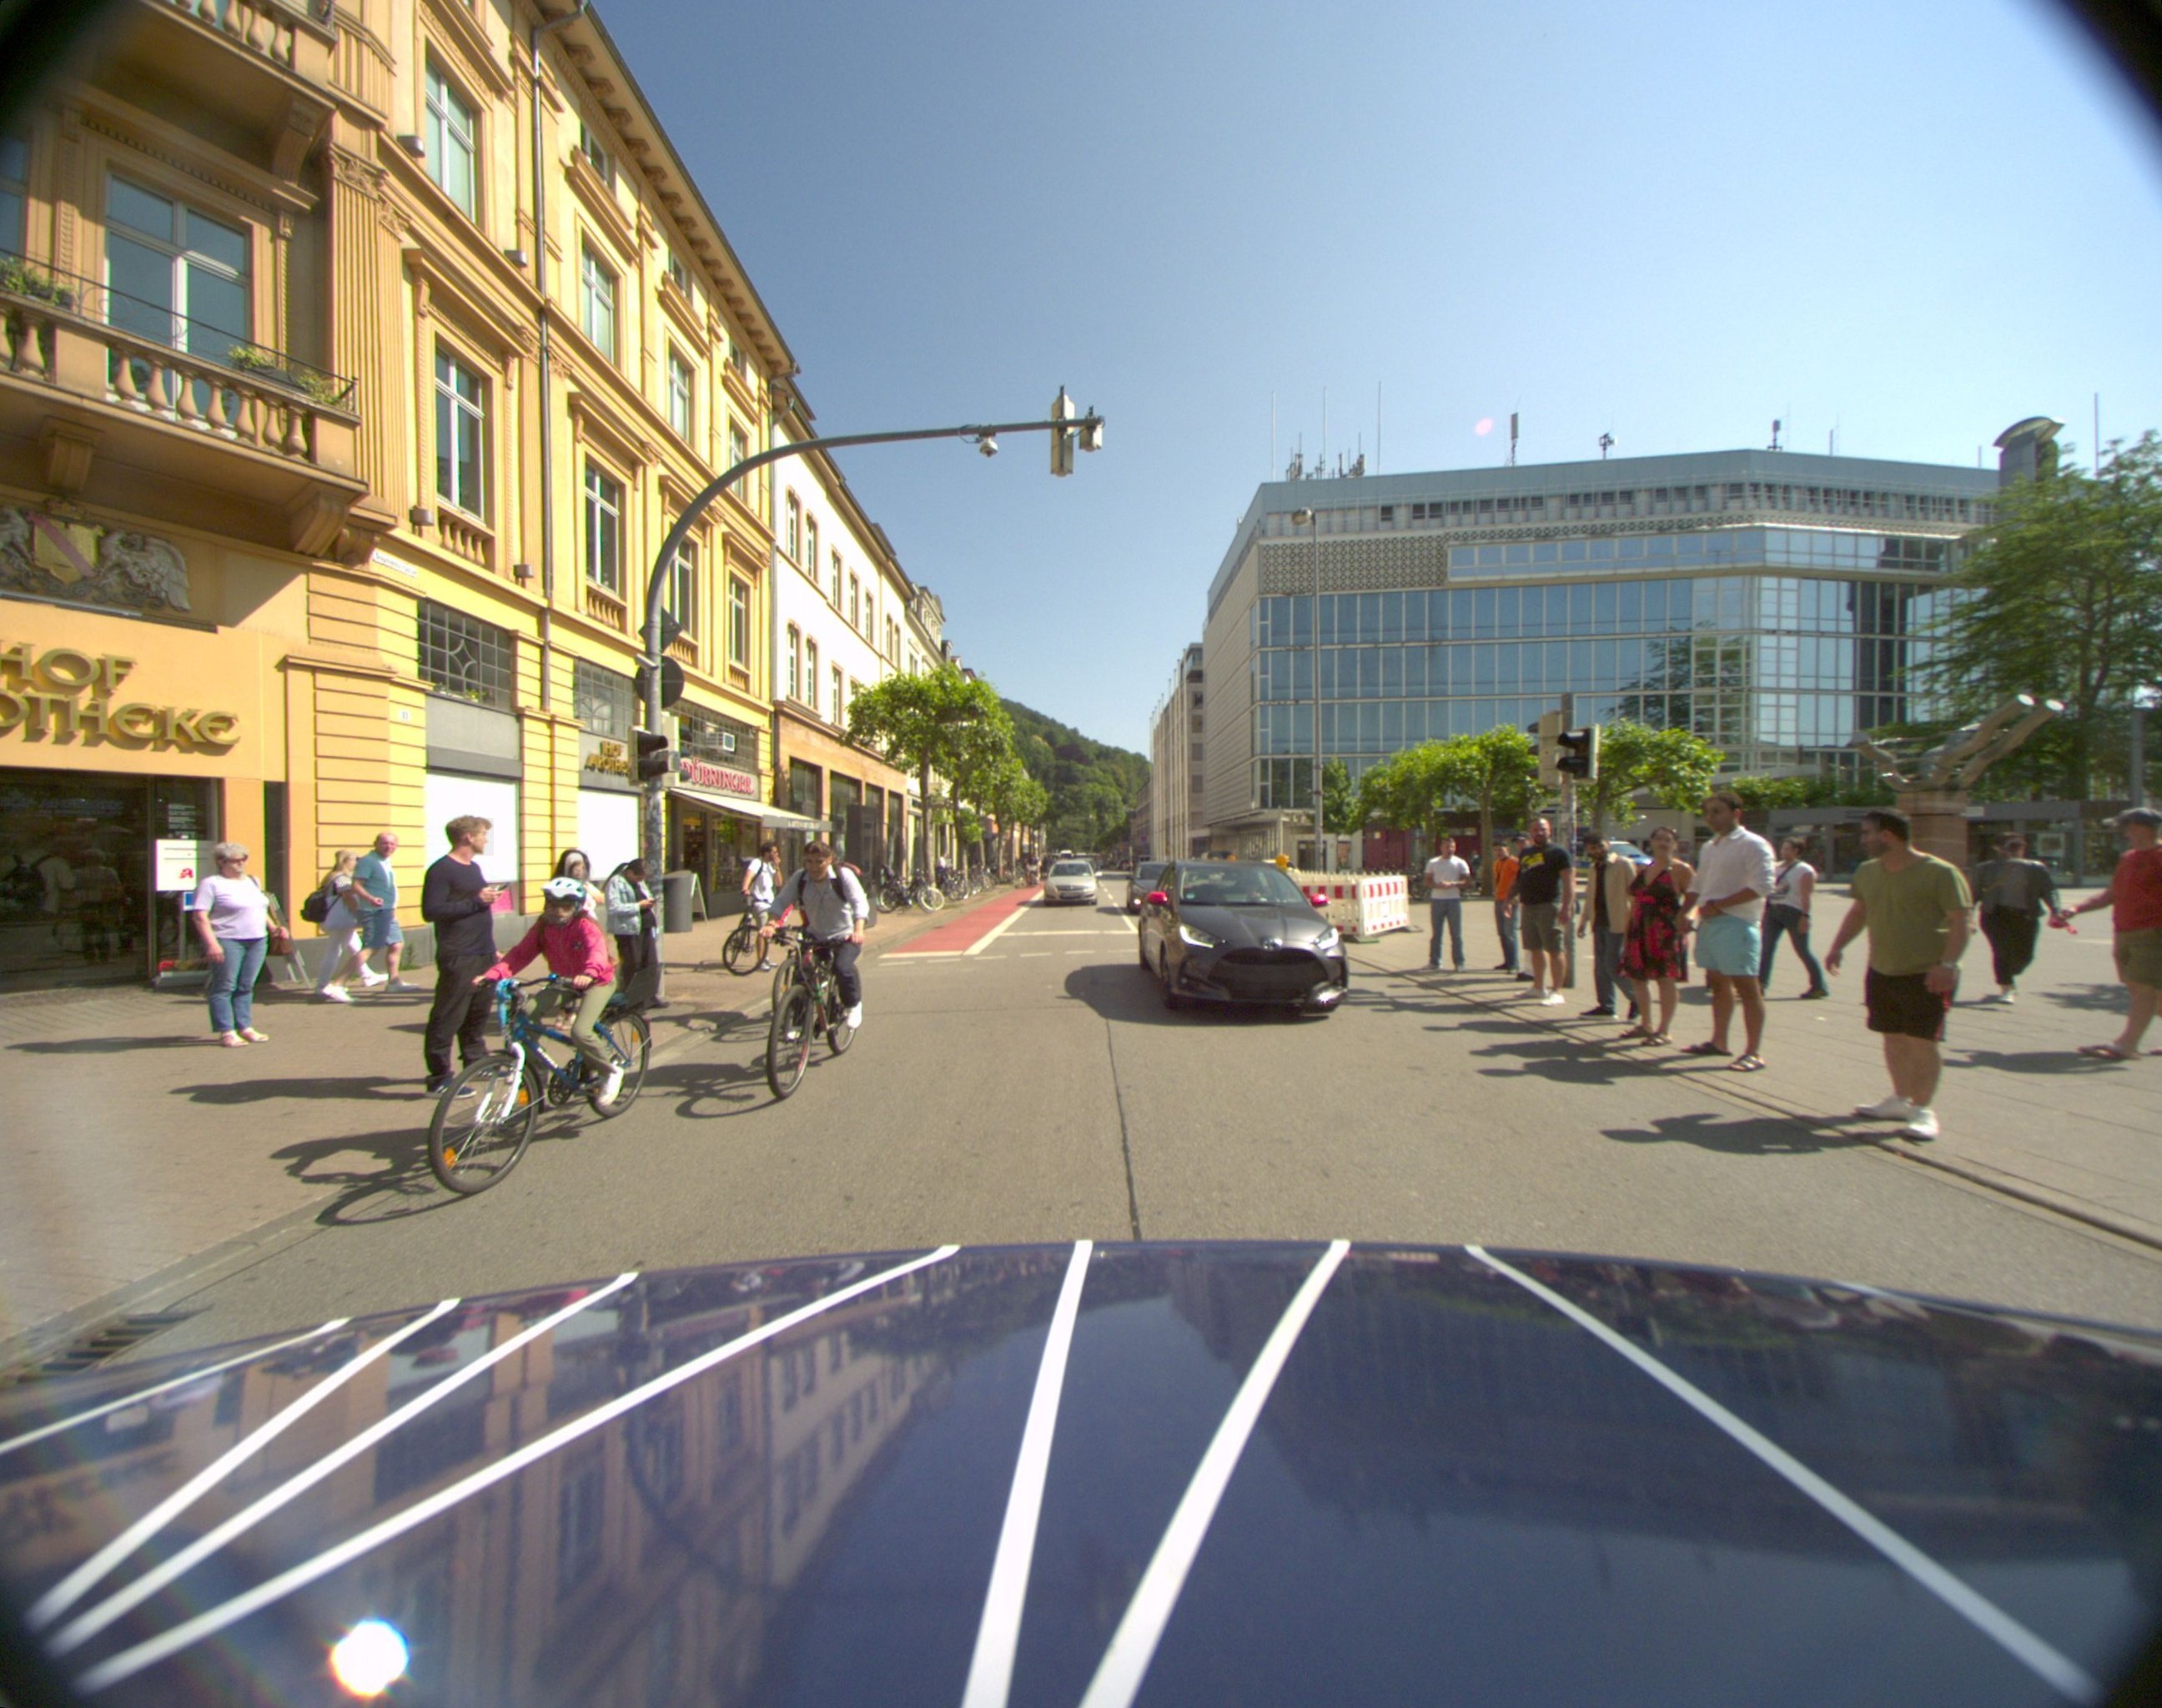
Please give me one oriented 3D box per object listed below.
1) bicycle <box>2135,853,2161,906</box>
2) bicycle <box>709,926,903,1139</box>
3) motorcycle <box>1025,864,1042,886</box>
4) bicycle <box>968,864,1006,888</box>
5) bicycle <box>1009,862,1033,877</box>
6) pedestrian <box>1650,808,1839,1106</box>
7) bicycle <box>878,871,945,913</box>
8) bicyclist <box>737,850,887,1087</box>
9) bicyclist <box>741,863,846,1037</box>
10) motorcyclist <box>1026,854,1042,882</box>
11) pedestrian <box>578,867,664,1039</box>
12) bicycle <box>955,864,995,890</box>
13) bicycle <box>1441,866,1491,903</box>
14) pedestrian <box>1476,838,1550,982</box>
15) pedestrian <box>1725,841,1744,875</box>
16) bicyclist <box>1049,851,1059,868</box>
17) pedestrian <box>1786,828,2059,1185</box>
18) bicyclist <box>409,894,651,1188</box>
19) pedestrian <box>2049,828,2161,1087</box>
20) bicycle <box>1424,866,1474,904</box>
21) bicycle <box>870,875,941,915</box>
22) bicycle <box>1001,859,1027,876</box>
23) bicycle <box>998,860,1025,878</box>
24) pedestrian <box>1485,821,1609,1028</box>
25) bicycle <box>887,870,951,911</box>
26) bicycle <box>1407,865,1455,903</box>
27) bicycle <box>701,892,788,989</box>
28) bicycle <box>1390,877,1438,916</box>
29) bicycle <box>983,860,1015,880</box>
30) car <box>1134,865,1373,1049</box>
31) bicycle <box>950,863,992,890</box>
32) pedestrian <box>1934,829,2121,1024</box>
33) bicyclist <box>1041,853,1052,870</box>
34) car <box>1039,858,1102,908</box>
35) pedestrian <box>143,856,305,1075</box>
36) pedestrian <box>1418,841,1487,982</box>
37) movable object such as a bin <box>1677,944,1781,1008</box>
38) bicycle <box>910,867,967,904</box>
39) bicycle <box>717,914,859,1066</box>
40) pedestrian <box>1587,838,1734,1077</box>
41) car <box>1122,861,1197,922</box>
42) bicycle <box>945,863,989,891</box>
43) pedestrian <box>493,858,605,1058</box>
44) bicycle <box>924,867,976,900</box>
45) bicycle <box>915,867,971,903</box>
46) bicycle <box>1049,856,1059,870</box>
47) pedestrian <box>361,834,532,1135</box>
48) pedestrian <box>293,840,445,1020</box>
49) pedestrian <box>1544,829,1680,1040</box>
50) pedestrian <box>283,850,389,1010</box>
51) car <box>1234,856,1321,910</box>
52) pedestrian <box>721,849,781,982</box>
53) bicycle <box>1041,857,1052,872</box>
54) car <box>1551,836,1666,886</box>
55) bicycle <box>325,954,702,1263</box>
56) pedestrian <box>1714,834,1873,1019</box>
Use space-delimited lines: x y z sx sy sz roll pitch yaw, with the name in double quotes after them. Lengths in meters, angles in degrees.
27.145 0.586 18.385 2.355 1.237 0.733 -2 1 -2 "bicycle"
-1.906 1.184 5.605 0.736 1.086 1.897 -2 1 -2 "bicycle"
-2.505 1.112 40.453 0.736 1.086 1.897 -2 1 0 "motorcycle"
-4.578 1.058 37.042 1.757 1.140 0.592 -1 1 -2 "bicycle"
-4.684 1.218 59.380 1.757 1.140 0.592 -1 1 -2 "bicycle"
4.567 0.664 5.277 0.639 1.903 0.733 -2 1 -2 "pedestrian"
-4.796 1.066 21.572 1.757 1.140 0.592 -1 1 -2 "bicycle"
-1.910 0.769 5.504 0.750 1.568 0.778 -2 1 -1 "bicyclist"
-2.772 0.892 7.399 0.690 1.568 0.778 -2 1 -3 "bicyclist"
-2.511 0.753 40.522 0.736 1.446 0.706 -2 1 0 "motorcyclist"
-4.473 0.939 7.418 0.531 1.586 0.588 1 1 -12 "pedestrian"
-4.794 1.047 34.421 1.757 1.140 0.592 -1 1 -2 "bicycle"
12.644 0.979 25.013 0.592 1.140 1.757 -1 1 -8 "bicycle"
5.464 0.684 9.645 0.731 1.737 0.640 -2 1 24 "pedestrian"
28.415 0.171 33.046 0.464 1.464 0.401 -3 1 -16 "pedestrian"
-2.324 0.476 64.988 0.736 1.376 0.734 -2 1 0 "bicyclist"
4.486 0.747 4.105 0.639 1.737 0.733 -2 1 -2 "pedestrian"
-2.945 0.948 4.153 0.690 1.388 0.778 -2 1 -2 "bicyclist"
7.619 0.694 5.341 0.751 1.737 0.732 -2 1 -10 "pedestrian"
12.041 0.996 24.926 0.592 1.140 1.757 -1 1 -8 "bicycle"
-4.705 1.096 20.473 1.757 1.029 0.592 -1 1 -2 "bicycle"
-4.645 0.954 52.818 1.757 1.140 0.592 -1 1 -2 "bicycle"
-4.601 0.987 50.202 1.757 1.140 0.592 -1 1 -2 "bicycle"
4.596 0.657 7.543 0.639 1.909 0.860 -2 1 -2 "pedestrian"
-4.757 1.061 22.409 1.757 1.140 0.592 -1 1 -2 "bicycle"
11.411 0.947 24.821 0.592 1.140 1.757 -1 1 -8 "bicycle"
-4.596 1.145 10.515 0.737 1.086 1.895 3 0 -14 "bicycle"
10.797 1.354 24.716 0.592 1.140 1.757 -1 1 -8 "bicycle"
-4.727 0.913 43.992 1.757 1.140 0.592 -1 1 -2 "bicycle"
1.607 0.909 8.464 1.781 1.466 4.000 1 0 1 "car"
-4.841 0.982 33.506 1.757 1.140 0.592 -1 1 -2 "bicycle"
9.111 0.654 7.351 0.722 1.737 0.884 -2 1 -10 "pedestrian"
-2.736 0.585 60.343 0.726 1.271 0.715 -2 1 0 "bicyclist"
-0.301 0.912 25.577 1.918 1.401 3.999 -2 1 1 "car"
-6.840 0.841 6.099 0.578 1.650 0.621 0 1 -12 "pedestrian"
4.786 0.714 9.822 0.731 1.737 0.640 -2 1 24 "pedestrian"
6.977 1.303 8.200 0.662 0.577 0.528 -2 1 -2 "movable object such as a bin"
-4.677 1.033 25.010 1.757 1.140 0.592 -1 1 -2 "bicycle"
-2.735 1.216 7.326 0.667 1.086 1.897 -2 1 -3 "bicycle"
4.466 0.760 5.889 0.639 1.737 0.605 -2 1 -2 "pedestrian"
2.161 1.008 21.882 1.699 1.397 3.999 4 1 1 "car"
-4.846 0.960 32.389 1.757 1.140 0.592 -1 1 -2 "bicycle"
-4.725 0.885 6.786 0.578 1.675 0.676 1 0 -12 "pedestrian"
-4.667 1.048 27.230 1.757 1.140 0.592 -1 1 -2 "bicycle"
-4.668 1.042 25.751 1.757 1.140 0.592 -1 1 -2 "bicycle"
-2.324 0.772 64.901 0.736 1.086 1.897 -2 1 0 "bicycle"
-4.214 0.820 5.098 0.578 1.863 0.680 2 0 -12 "pedestrian"
-7.474 0.757 8.016 0.757 1.782 0.860 0 1 11 "pedestrian"
4.637 0.668 6.683 0.639 1.737 0.733 -2 1 -2 "pedestrian"
-8.178 0.800 8.352 0.686 1.675 0.579 0 1 22 "pedestrian"
8.401 1.164 32.257 1.994 2.002 4.008 -1 1 40 "car"
-4.545 0.823 10.492 0.651 1.770 0.621 1 2 -13 "pedestrian"
-2.740 0.839 60.308 0.736 1.086 1.897 -2 1 0 "bicycle"
23.057 0.271 33.413 2.000 2.002 3.997 -2 1 -7 "car"
-2.935 1.232 4.235 0.736 1.086 1.819 -2 0 -2 "bicycle"
7.084 0.686 7.593 0.876 1.737 0.733 -2 1 -2 "pedestrian"
